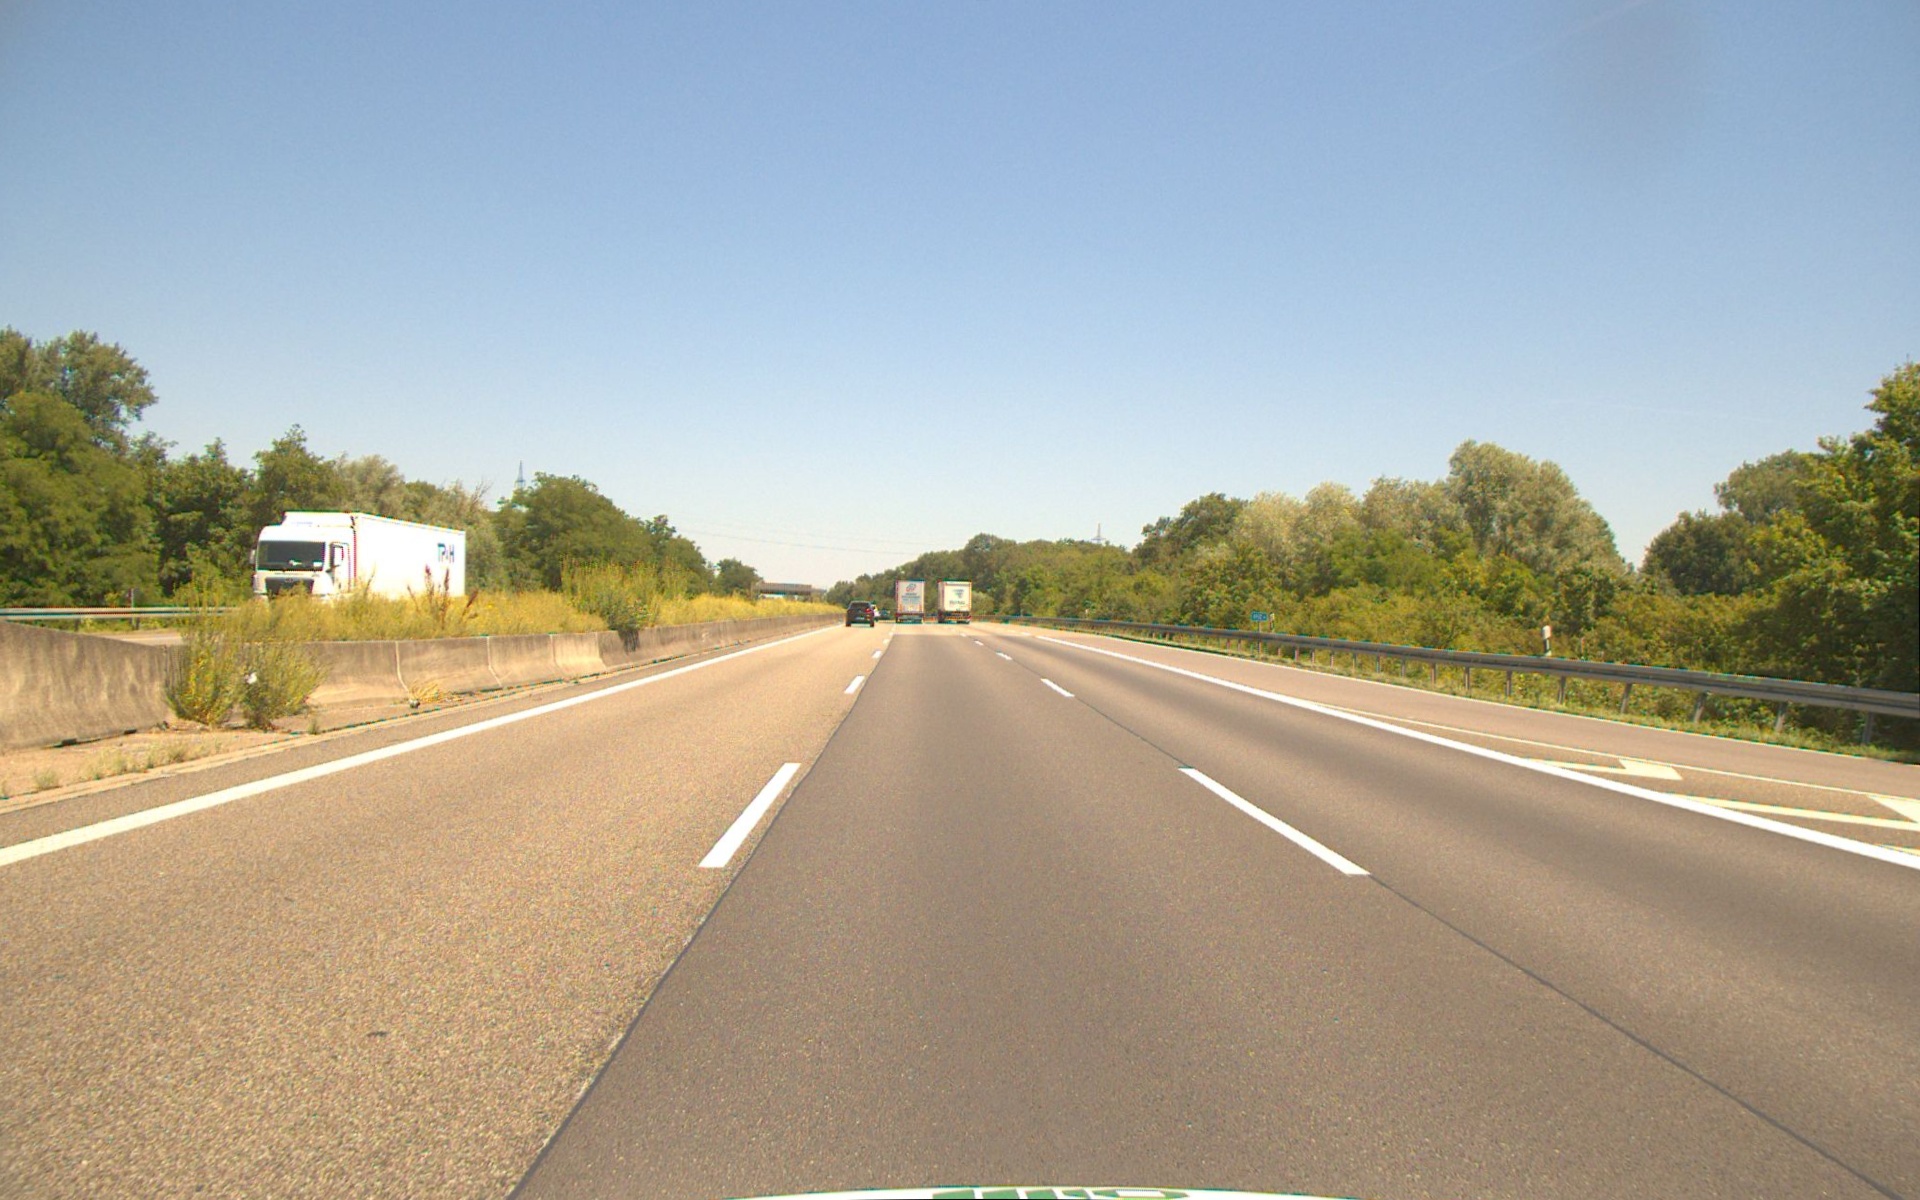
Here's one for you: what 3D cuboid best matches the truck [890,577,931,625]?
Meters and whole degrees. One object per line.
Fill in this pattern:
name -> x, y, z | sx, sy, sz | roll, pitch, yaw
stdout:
truck -> -4.625, 0.046, 153.503 | 3.167, 4.275, 8.455 | 1, 0, -6

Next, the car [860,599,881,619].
car -> -9.012, 0.924, 166.199 | 1.954, 1.907, 3.996 | 2, 0, -4

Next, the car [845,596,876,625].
car -> -6.817, 0.690, 114.117 | 1.953, 1.907, 3.999 | 1, 0, -1

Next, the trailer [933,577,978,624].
trailer -> -0.480, 0.016, 156.970 | 3.303, 4.215, 9.079 | 1, 0, -6

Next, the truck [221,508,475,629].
truck -> -22.090, -1.024, 61.527 | 3.526, 3.800, 17.477 | 1, 0, -2
